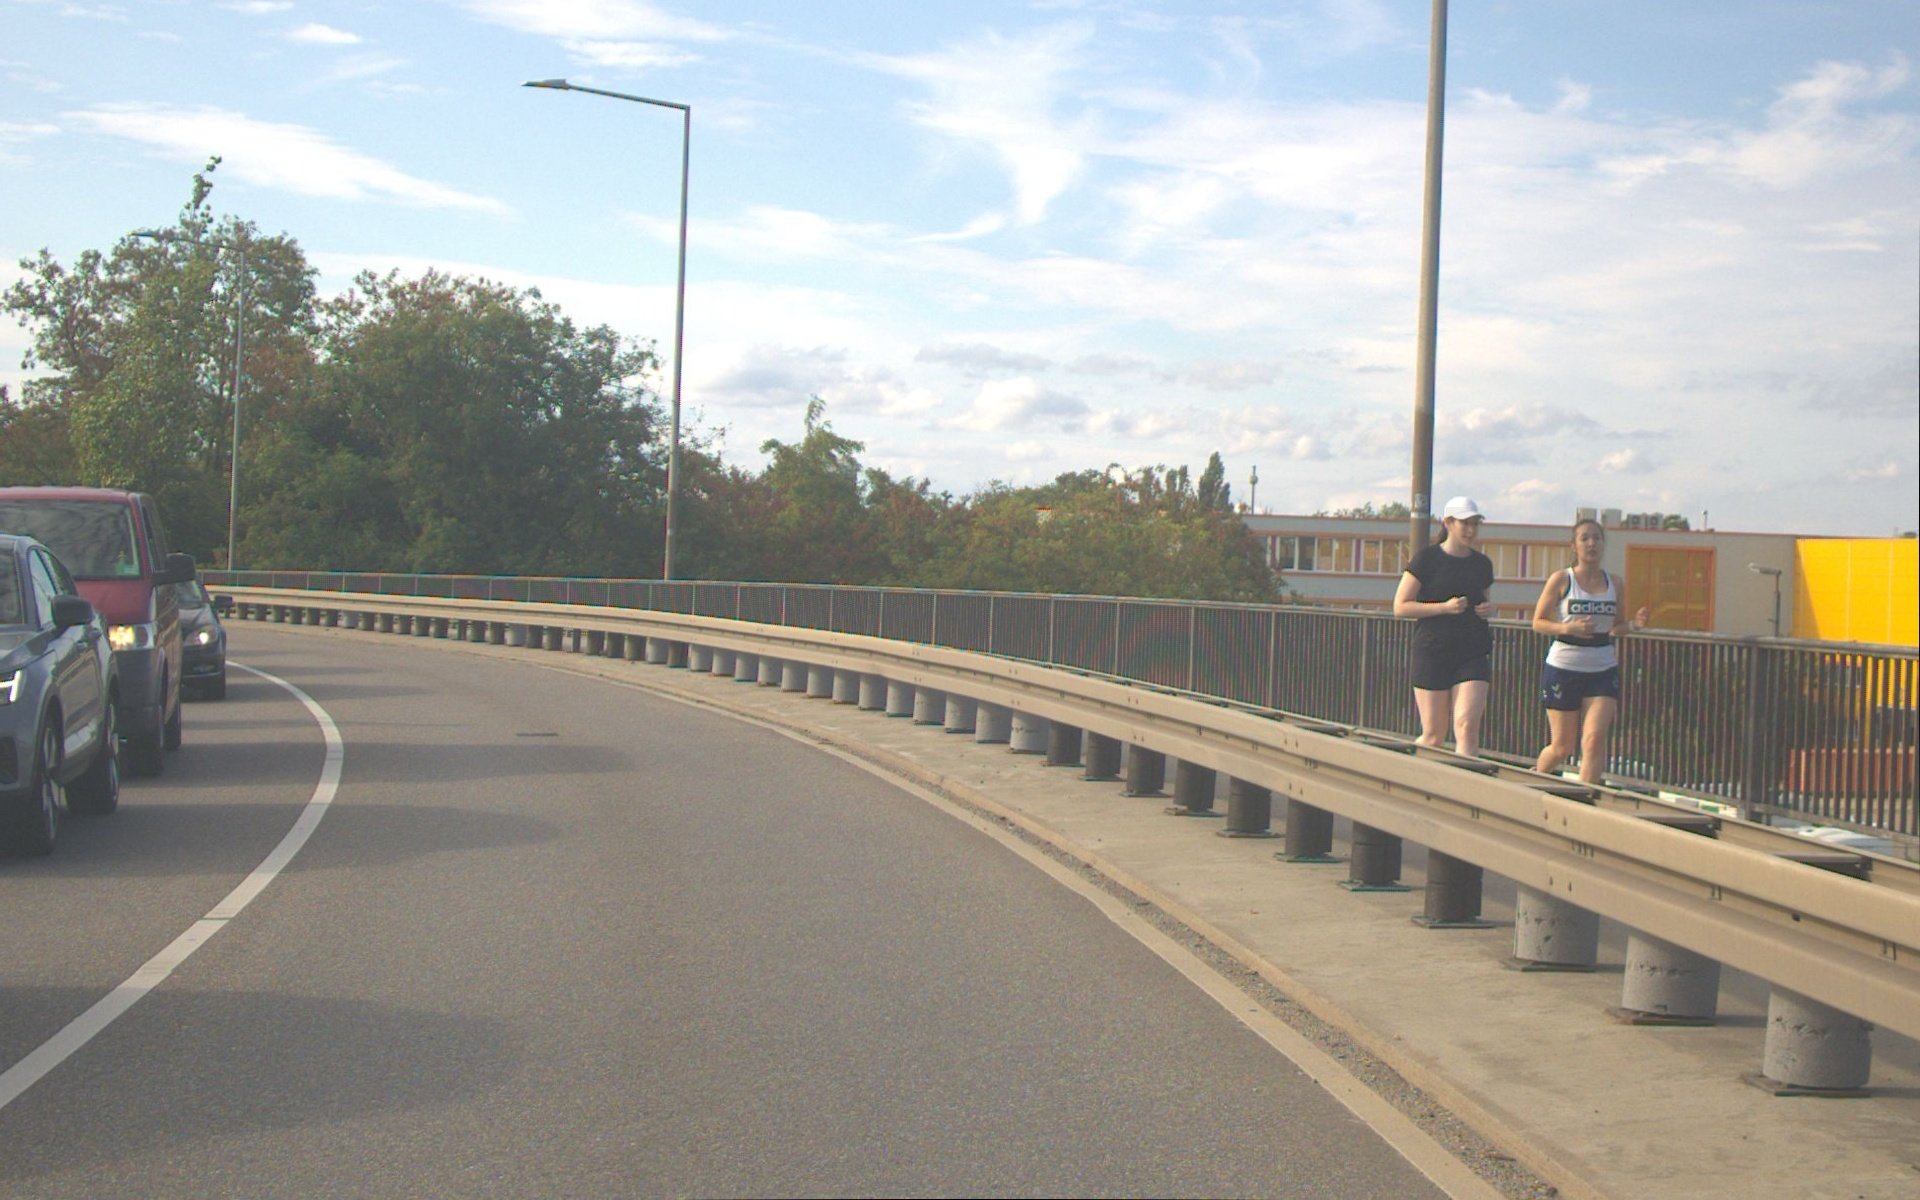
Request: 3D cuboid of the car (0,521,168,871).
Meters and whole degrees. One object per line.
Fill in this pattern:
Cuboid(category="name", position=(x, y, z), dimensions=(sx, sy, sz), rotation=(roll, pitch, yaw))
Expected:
Cuboid(category="car", position=(-5.314, 0.409, 17.816), dimensions=(1.752, 1.604, 4.314), rotation=(0, 1, -5))

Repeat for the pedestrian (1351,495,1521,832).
Cuboid(category="pedestrian", position=(2.388, 0.307, 17.310), dimensions=(0.676, 1.656, 0.865), rotation=(0, 0, -5))

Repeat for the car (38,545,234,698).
Cuboid(category="car", position=(-8.528, 0.171, 35.474), dimensions=(1.832, 1.460, 4.519), rotation=(-1, 1, -14))

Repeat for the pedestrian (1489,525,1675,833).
Cuboid(category="pedestrian", position=(3.186, 0.390, 17.678), dimensions=(0.676, 1.538, 0.961), rotation=(0, 0, -8))

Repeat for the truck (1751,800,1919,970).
Cuboid(category="truck", position=(25.425, 7.431, 90.415), dimensions=(8.588, 4.077, 2.668), rotation=(0, 2, -9))

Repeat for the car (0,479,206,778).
Cuboid(category="car", position=(-6.466, 0.143, 24.225), dimensions=(2.007, 1.897, 4.869), rotation=(0, 1, -10))
